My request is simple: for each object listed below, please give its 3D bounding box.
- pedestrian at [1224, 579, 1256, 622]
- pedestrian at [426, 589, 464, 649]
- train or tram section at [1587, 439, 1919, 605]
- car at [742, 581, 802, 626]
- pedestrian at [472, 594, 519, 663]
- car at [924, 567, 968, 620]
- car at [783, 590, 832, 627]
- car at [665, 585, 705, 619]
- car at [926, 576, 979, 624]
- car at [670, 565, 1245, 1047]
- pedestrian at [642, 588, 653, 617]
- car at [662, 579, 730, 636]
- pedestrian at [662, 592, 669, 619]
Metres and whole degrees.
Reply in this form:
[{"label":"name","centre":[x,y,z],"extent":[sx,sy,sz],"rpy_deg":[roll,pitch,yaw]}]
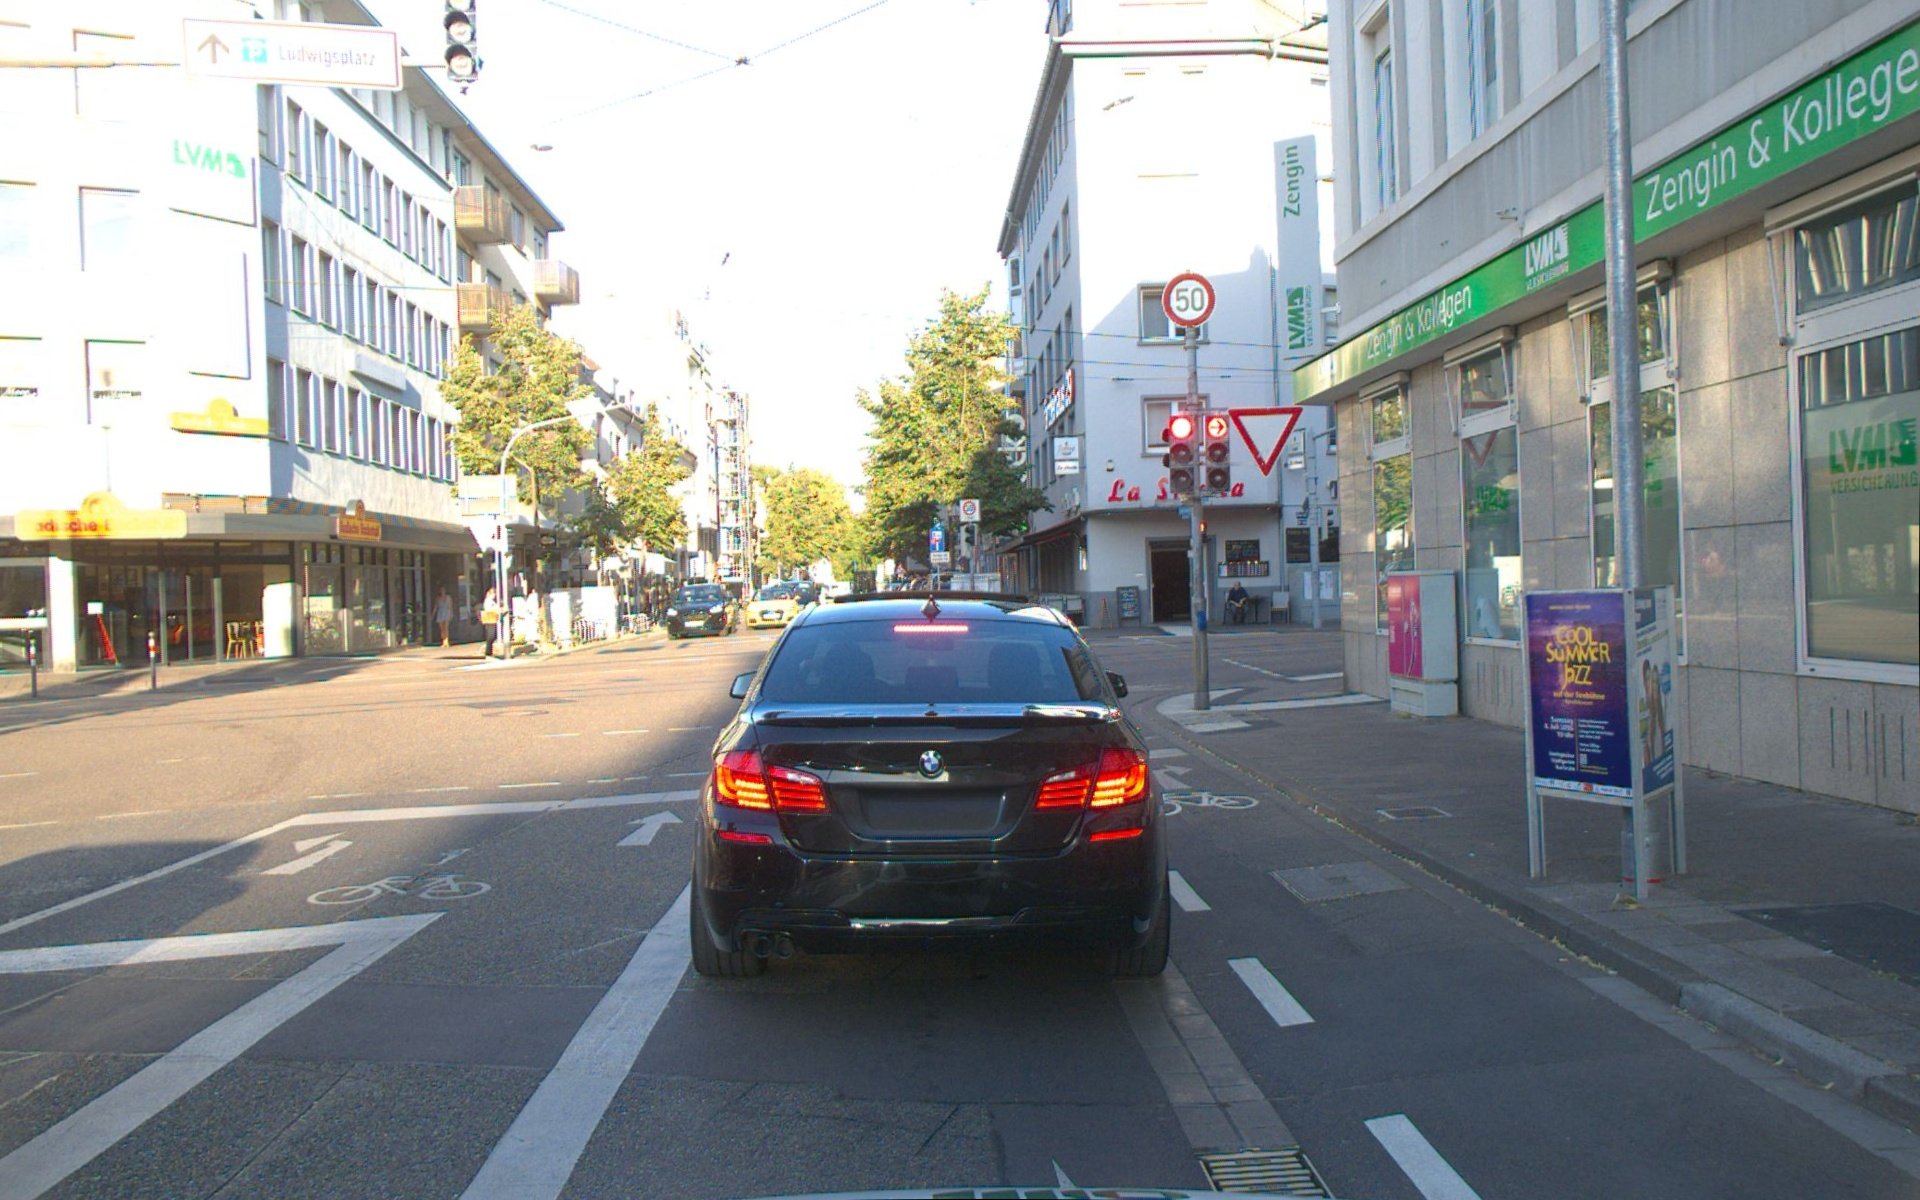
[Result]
[{"label":"pedestrian","centre":[7.853,0.006,46.443],"extent":[0.683,1.177,0.843],"rpy_deg":[-2,0,-4]},{"label":"pedestrian","centre":[-15.046,0.544,48.348],"extent":[0.807,1.705,0.871],"rpy_deg":[-2,0,-3]},{"label":"train or tram section","centre":[22.065,-2.130,44.178],"extent":[12.498,3.932,3.047],"rpy_deg":[-3,1,-33]},{"label":"car","centre":[-6.579,0.107,57.564],"extent":[1.956,1.467,3.993],"rpy_deg":[-2,1,-8]},{"label":"pedestrian","centre":[-10.993,0.666,39.183],"extent":[0.929,1.564,0.906],"rpy_deg":[-2,0,-11]},{"label":"car","centre":[-0.542,-0.232,60.983],"extent":[1.393,1.887,3.049],"rpy_deg":[-1,0,-5]},{"label":"car","centre":[-5.954,0.316,64.335],"extent":[1.701,1.315,3.993],"rpy_deg":[-2,1,-8]},{"label":"car","centre":[-13.070,0.077,78.812],"extent":[1.701,1.487,3.993],"rpy_deg":[-2,1,-8]},{"label":"car","centre":[-0.276,-0.011,54.588],"extent":[1.593,1.497,3.393],"rpy_deg":[-1,0,-3]},{"label":"car","centre":[-0.118,0.658,7.662],"extent":[1.865,1.567,4.447],"rpy_deg":[1,1,-3]},{"label":"pedestrian","centre":[-15.825,0.114,83.679],"extent":[0.435,1.441,0.525],"rpy_deg":[-2,0,-4]},{"label":"car","centre":[-8.266,0.220,52.101],"extent":[1.956,1.646,3.993],"rpy_deg":[-2,1,-8]},{"label":"pedestrian","centre":[-14.949,0.273,83.925],"extent":[0.301,1.383,0.284],"rpy_deg":[-2,0,-11]}]
